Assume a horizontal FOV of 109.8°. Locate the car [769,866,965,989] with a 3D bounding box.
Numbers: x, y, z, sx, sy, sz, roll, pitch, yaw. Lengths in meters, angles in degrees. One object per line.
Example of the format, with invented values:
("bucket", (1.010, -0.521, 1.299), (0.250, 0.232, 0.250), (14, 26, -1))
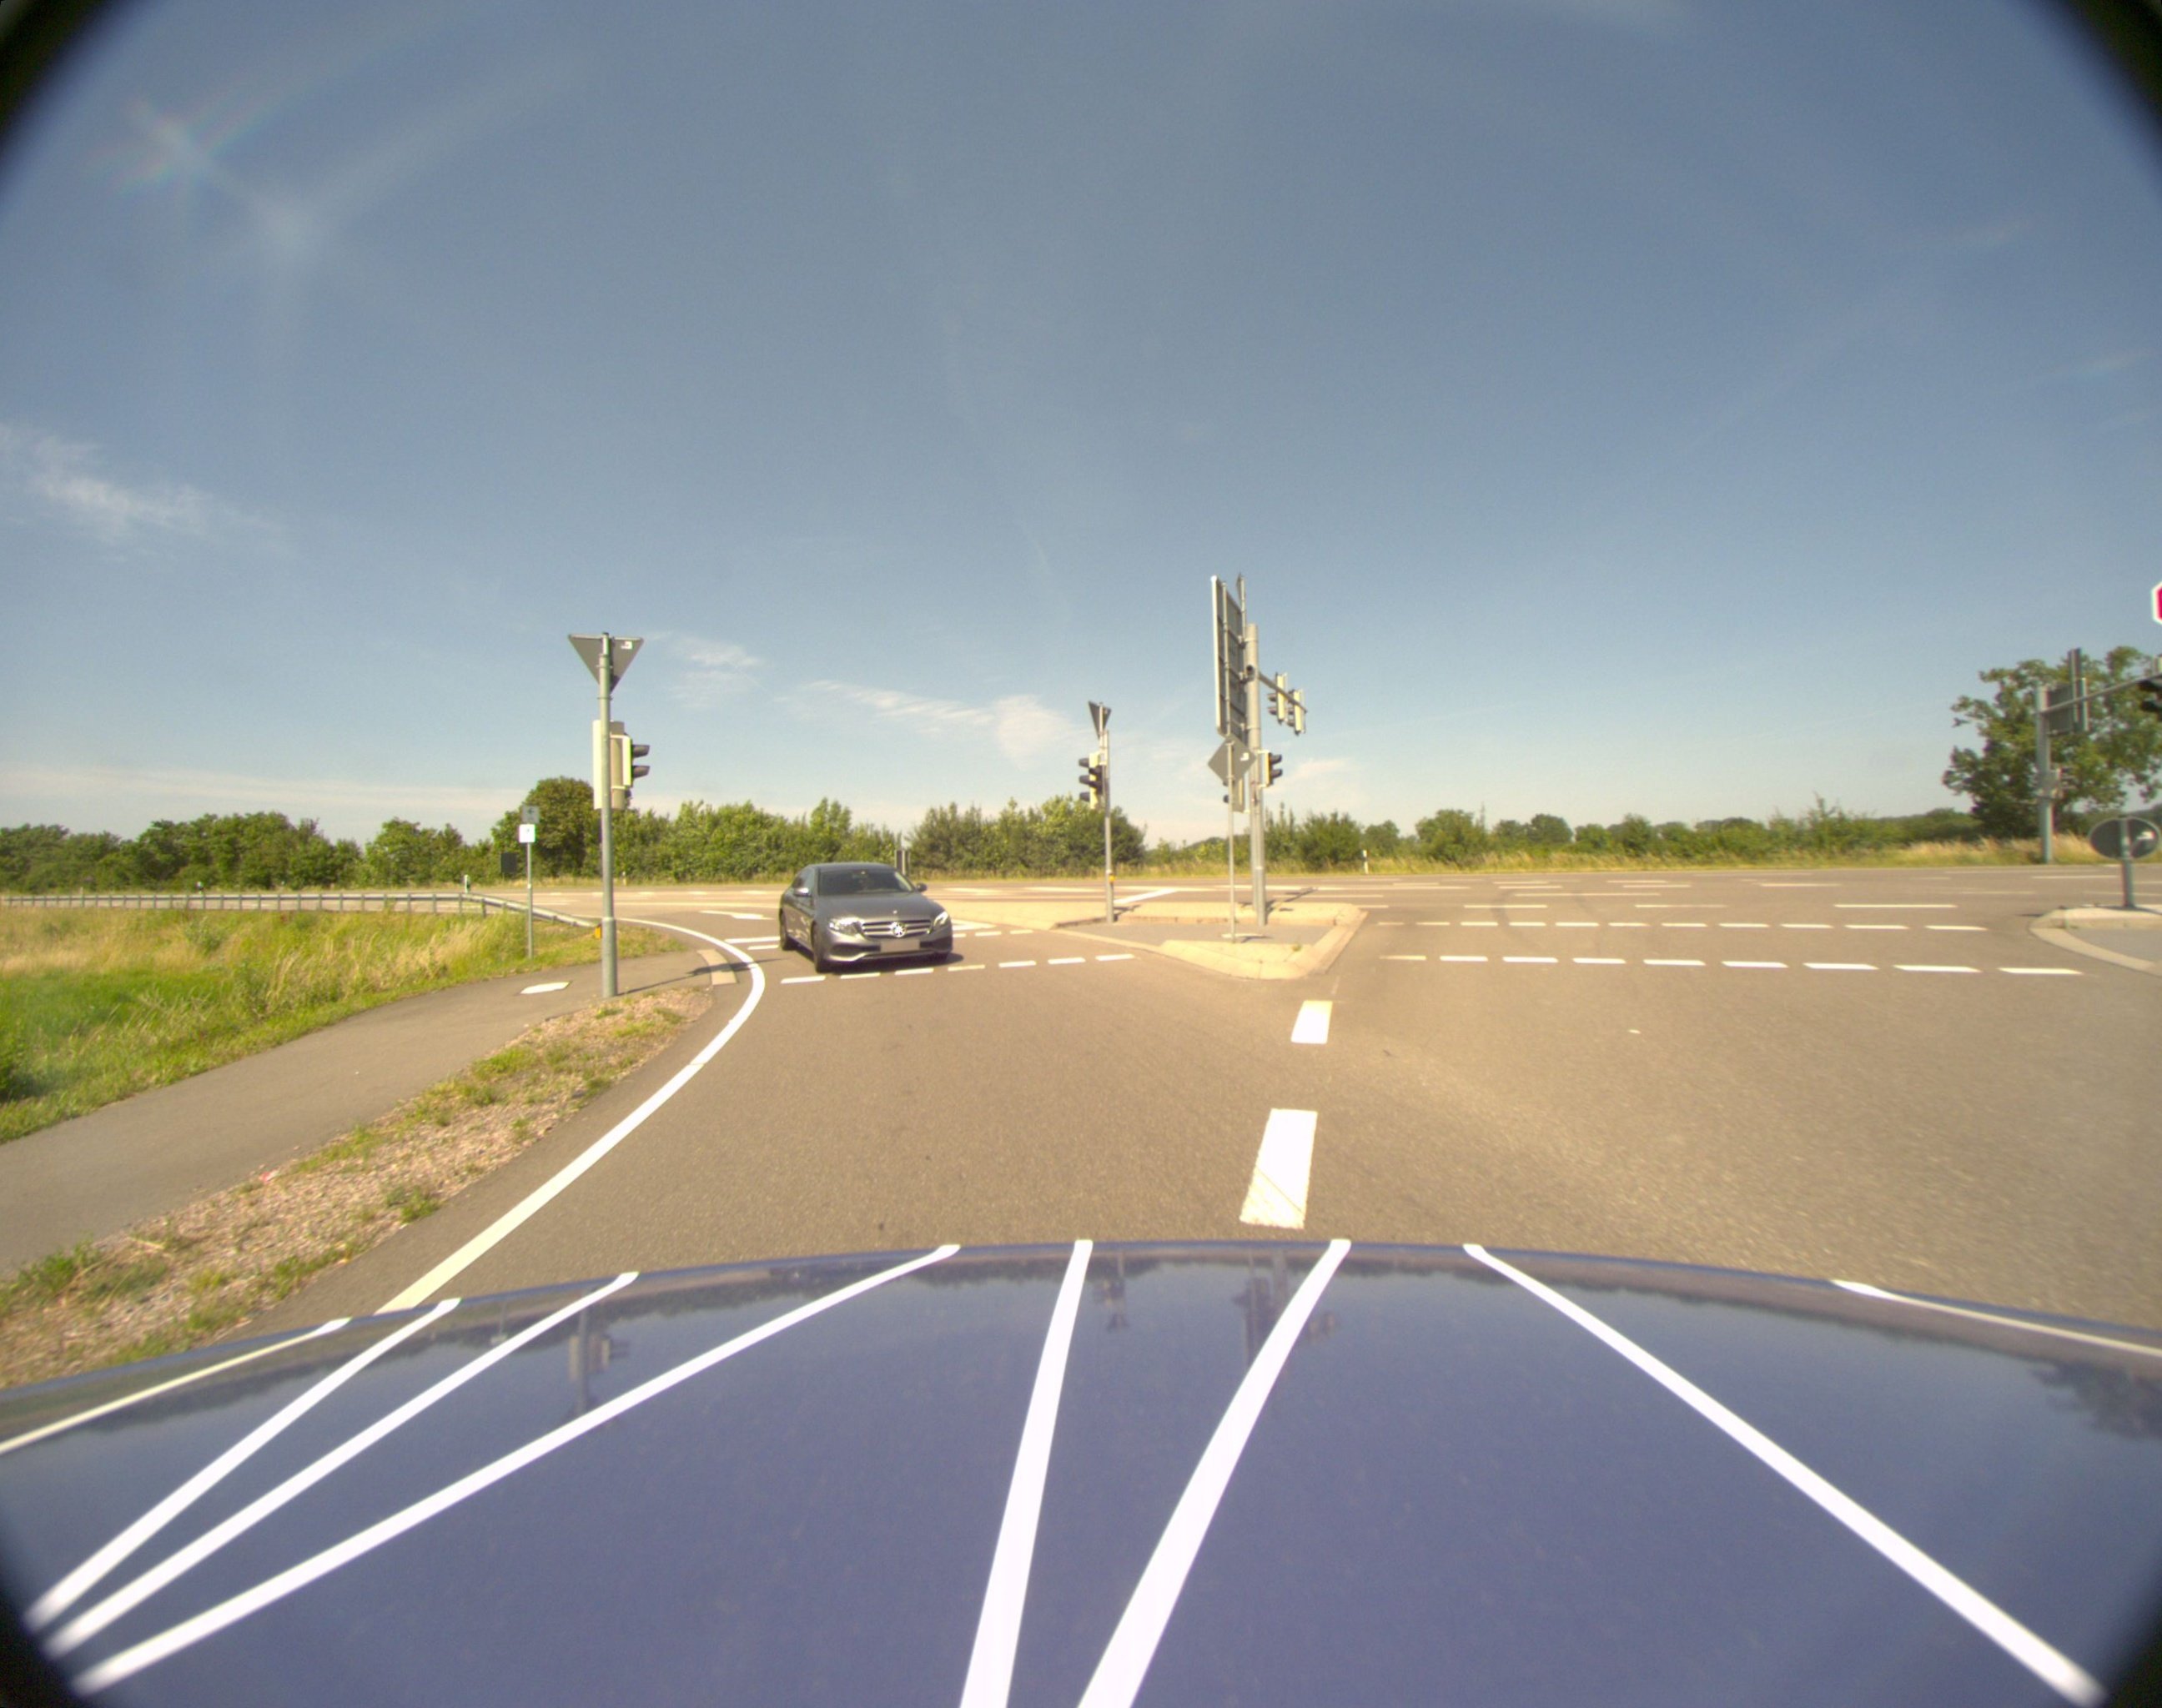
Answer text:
("car", (-3.562, 0.960, 11.963), (1.898, 1.439, 4.515), (-2, 1, -30))
